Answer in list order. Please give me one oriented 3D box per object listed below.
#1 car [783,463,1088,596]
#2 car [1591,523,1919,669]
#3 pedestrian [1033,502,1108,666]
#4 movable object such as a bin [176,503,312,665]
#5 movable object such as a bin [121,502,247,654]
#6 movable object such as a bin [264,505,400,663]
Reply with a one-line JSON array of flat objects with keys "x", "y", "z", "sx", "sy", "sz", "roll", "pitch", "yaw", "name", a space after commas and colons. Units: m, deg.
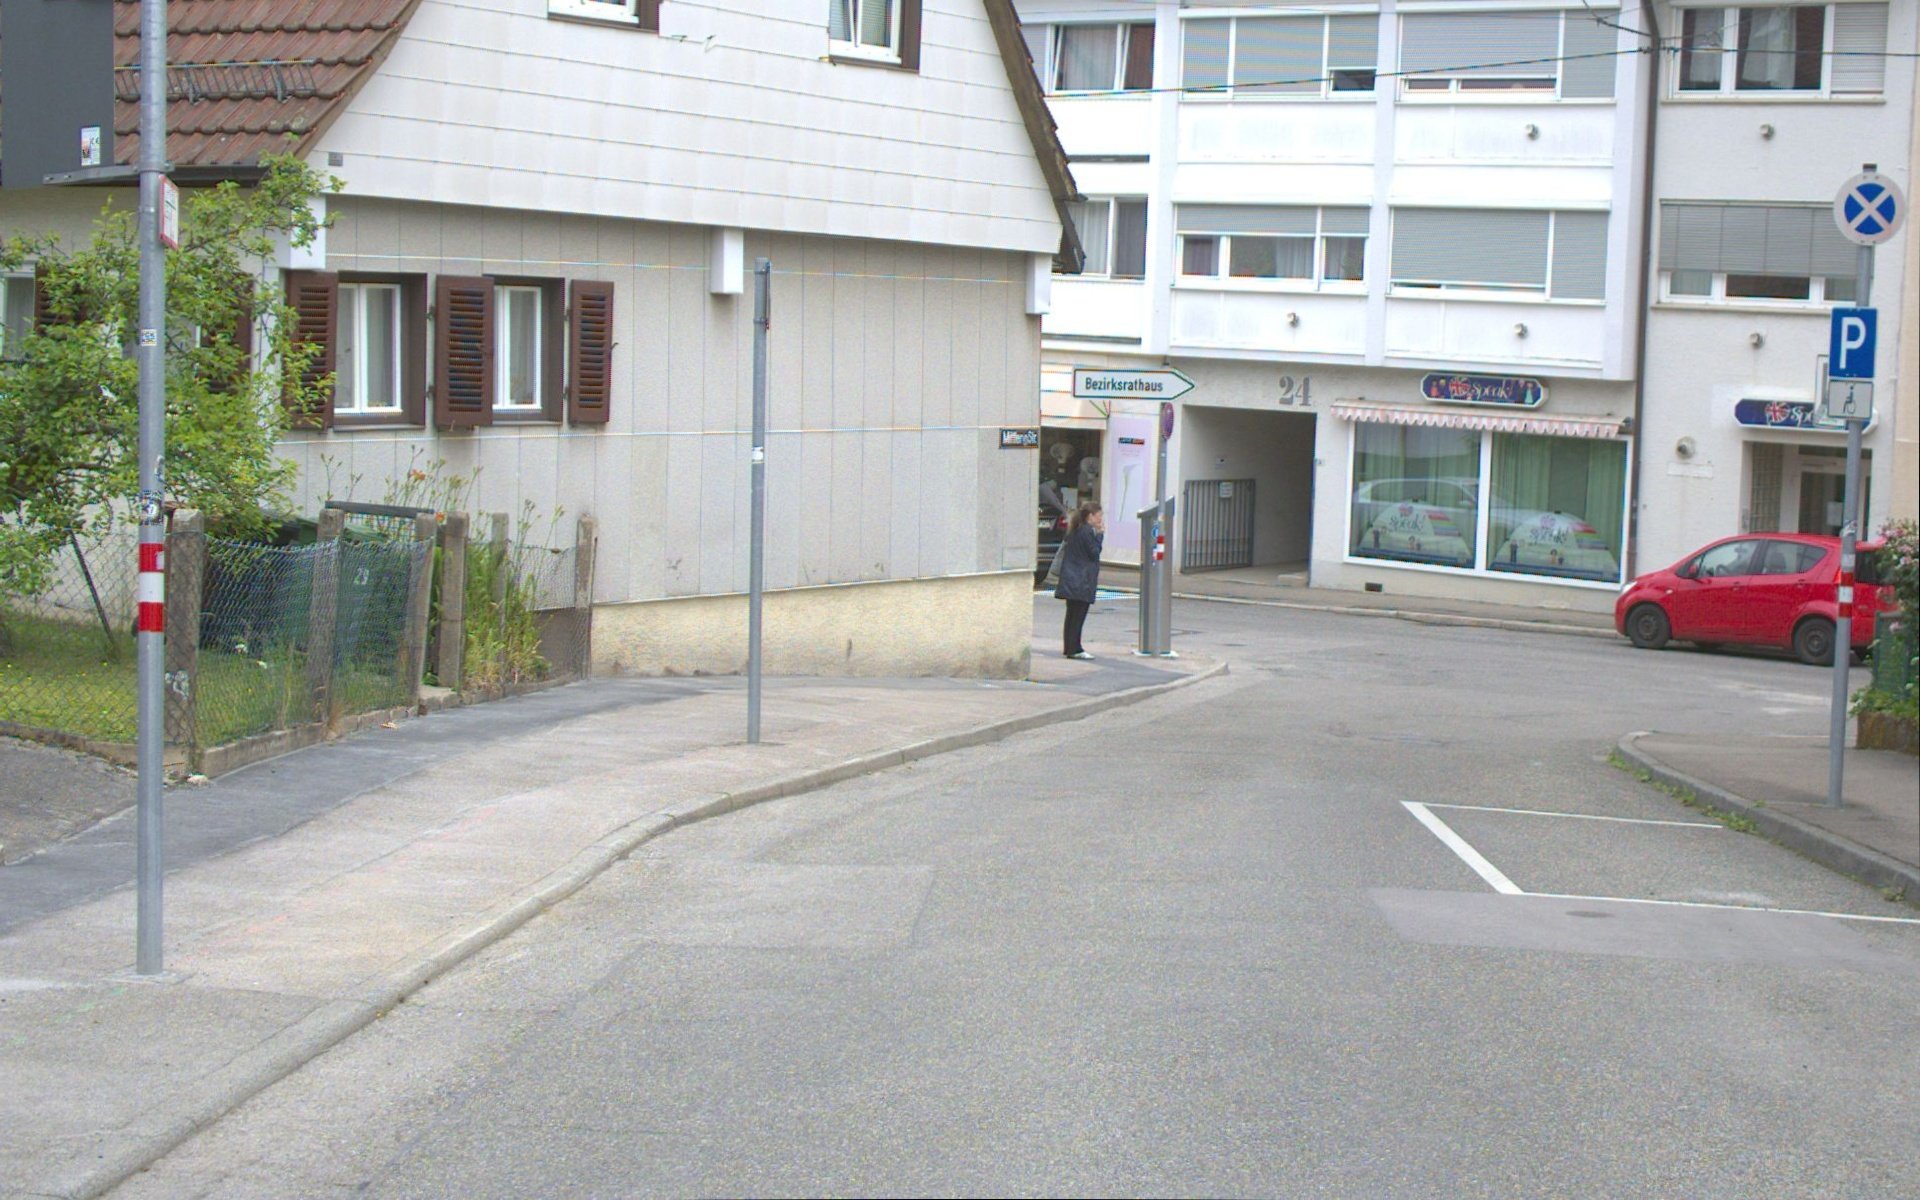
[{"x": -0.405, "y": -1.085, "z": 51.814, "sx": 4.366, "sy": 1.773, "sz": 1.942, "roll": 5, "pitch": 4, "yaw": 42, "name": "car"}, {"x": 10.001, "y": -0.077, "z": 43.107, "sx": 3.693, "sy": 1.551, "sz": 1.693, "roll": 5, "pitch": 4, "yaw": 43, "name": "car"}, {"x": 1.171, "y": -0.180, "z": 36.394, "sx": 0.646, "sy": 1.679, "sz": 0.604, "roll": 3, "pitch": 3, "yaw": 8, "name": "pedestrian"}, {"x": -4.373, "y": -0.098, "z": 20.995, "sx": 0.528, "sy": 0.914, "sz": 0.489, "roll": 8, "pitch": 2, "yaw": 31, "name": "movable object such as a bin"}, {"x": -4.813, "y": -0.136, "z": 21.327, "sx": 0.495, "sy": 0.875, "sz": 0.452, "roll": 8, "pitch": 2, "yaw": 32, "name": "movable object such as a bin"}, {"x": -3.805, "y": -0.096, "z": 20.850, "sx": 0.528, "sy": 0.881, "sz": 0.489, "roll": 8, "pitch": 2, "yaw": 31, "name": "movable object such as a bin"}]
